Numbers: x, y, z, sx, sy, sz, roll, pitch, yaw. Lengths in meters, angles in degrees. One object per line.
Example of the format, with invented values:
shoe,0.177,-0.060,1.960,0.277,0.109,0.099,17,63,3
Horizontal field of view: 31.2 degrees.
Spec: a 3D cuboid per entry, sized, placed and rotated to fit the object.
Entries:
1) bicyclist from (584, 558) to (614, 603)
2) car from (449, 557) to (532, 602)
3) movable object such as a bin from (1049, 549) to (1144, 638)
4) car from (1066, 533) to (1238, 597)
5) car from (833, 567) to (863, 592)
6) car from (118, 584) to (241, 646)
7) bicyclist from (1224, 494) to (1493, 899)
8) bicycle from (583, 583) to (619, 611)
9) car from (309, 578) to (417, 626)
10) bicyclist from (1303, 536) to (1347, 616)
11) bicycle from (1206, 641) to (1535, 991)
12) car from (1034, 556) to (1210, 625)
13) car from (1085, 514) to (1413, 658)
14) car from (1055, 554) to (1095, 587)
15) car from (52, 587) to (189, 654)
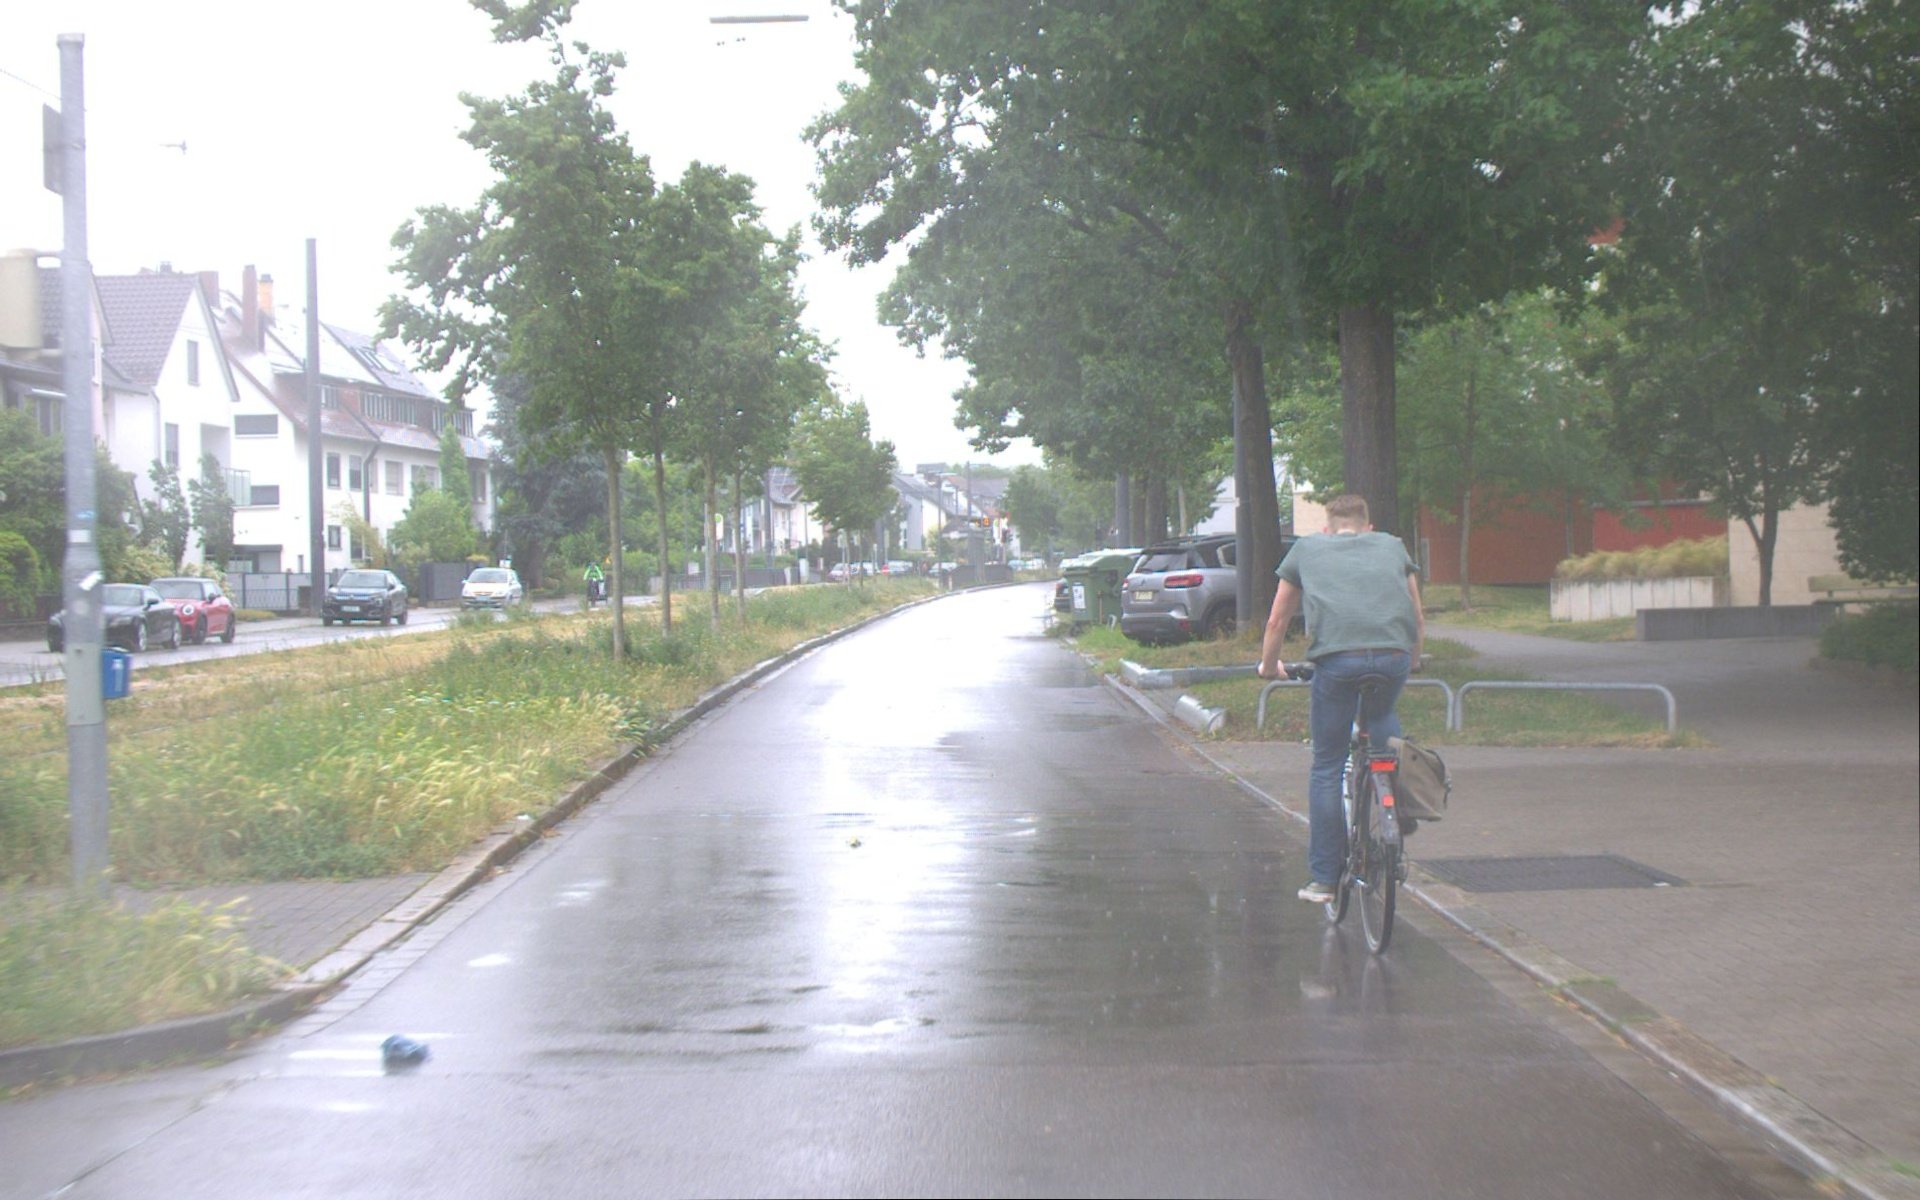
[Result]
bicyclist,-13.812,-0.738,131.550,1.018,1.680,1.092,-1,1,0
car,-15.911,-0.699,116.617,1.897,1.464,4.687,1,1,3
movable object such as a bin,2.456,-0.122,62.026,1.125,1.452,1.401,-7,3,-20
car,4.666,-0.854,83.401,4.028,1.438,1.585,-2,1,-36
car,-7.638,-1.421,235.356,1.843,1.666,4.000,-1,1,1
car,-16.683,0.303,73.606,1.674,1.240,3.855,1,1,1
bicyclist,1.467,0.338,12.832,0.809,1.428,1.060,-2,1,-2
bicycle,-13.802,-0.136,132.226,1.018,1.024,3.197,-1,1,0
car,-16.341,0.041,94.326,1.897,1.240,4.687,1,1,3
bicyclist,7.314,-0.483,68.975,0.734,1.588,0.944,-2,1,0
bicycle,1.473,0.742,12.832,0.809,1.093,2.517,-2,1,-2
car,3.686,-0.220,77.865,4.030,1.438,1.584,-2,1,-43
car,4.088,-0.214,48.428,4.135,1.713,2.000,-5,2,-31
car,5.661,-1.475,169.340,1.833,1.581,4.000,-1,1,1
car,-16.671,0.388,68.420,1.663,1.240,4.071,1,1,1
